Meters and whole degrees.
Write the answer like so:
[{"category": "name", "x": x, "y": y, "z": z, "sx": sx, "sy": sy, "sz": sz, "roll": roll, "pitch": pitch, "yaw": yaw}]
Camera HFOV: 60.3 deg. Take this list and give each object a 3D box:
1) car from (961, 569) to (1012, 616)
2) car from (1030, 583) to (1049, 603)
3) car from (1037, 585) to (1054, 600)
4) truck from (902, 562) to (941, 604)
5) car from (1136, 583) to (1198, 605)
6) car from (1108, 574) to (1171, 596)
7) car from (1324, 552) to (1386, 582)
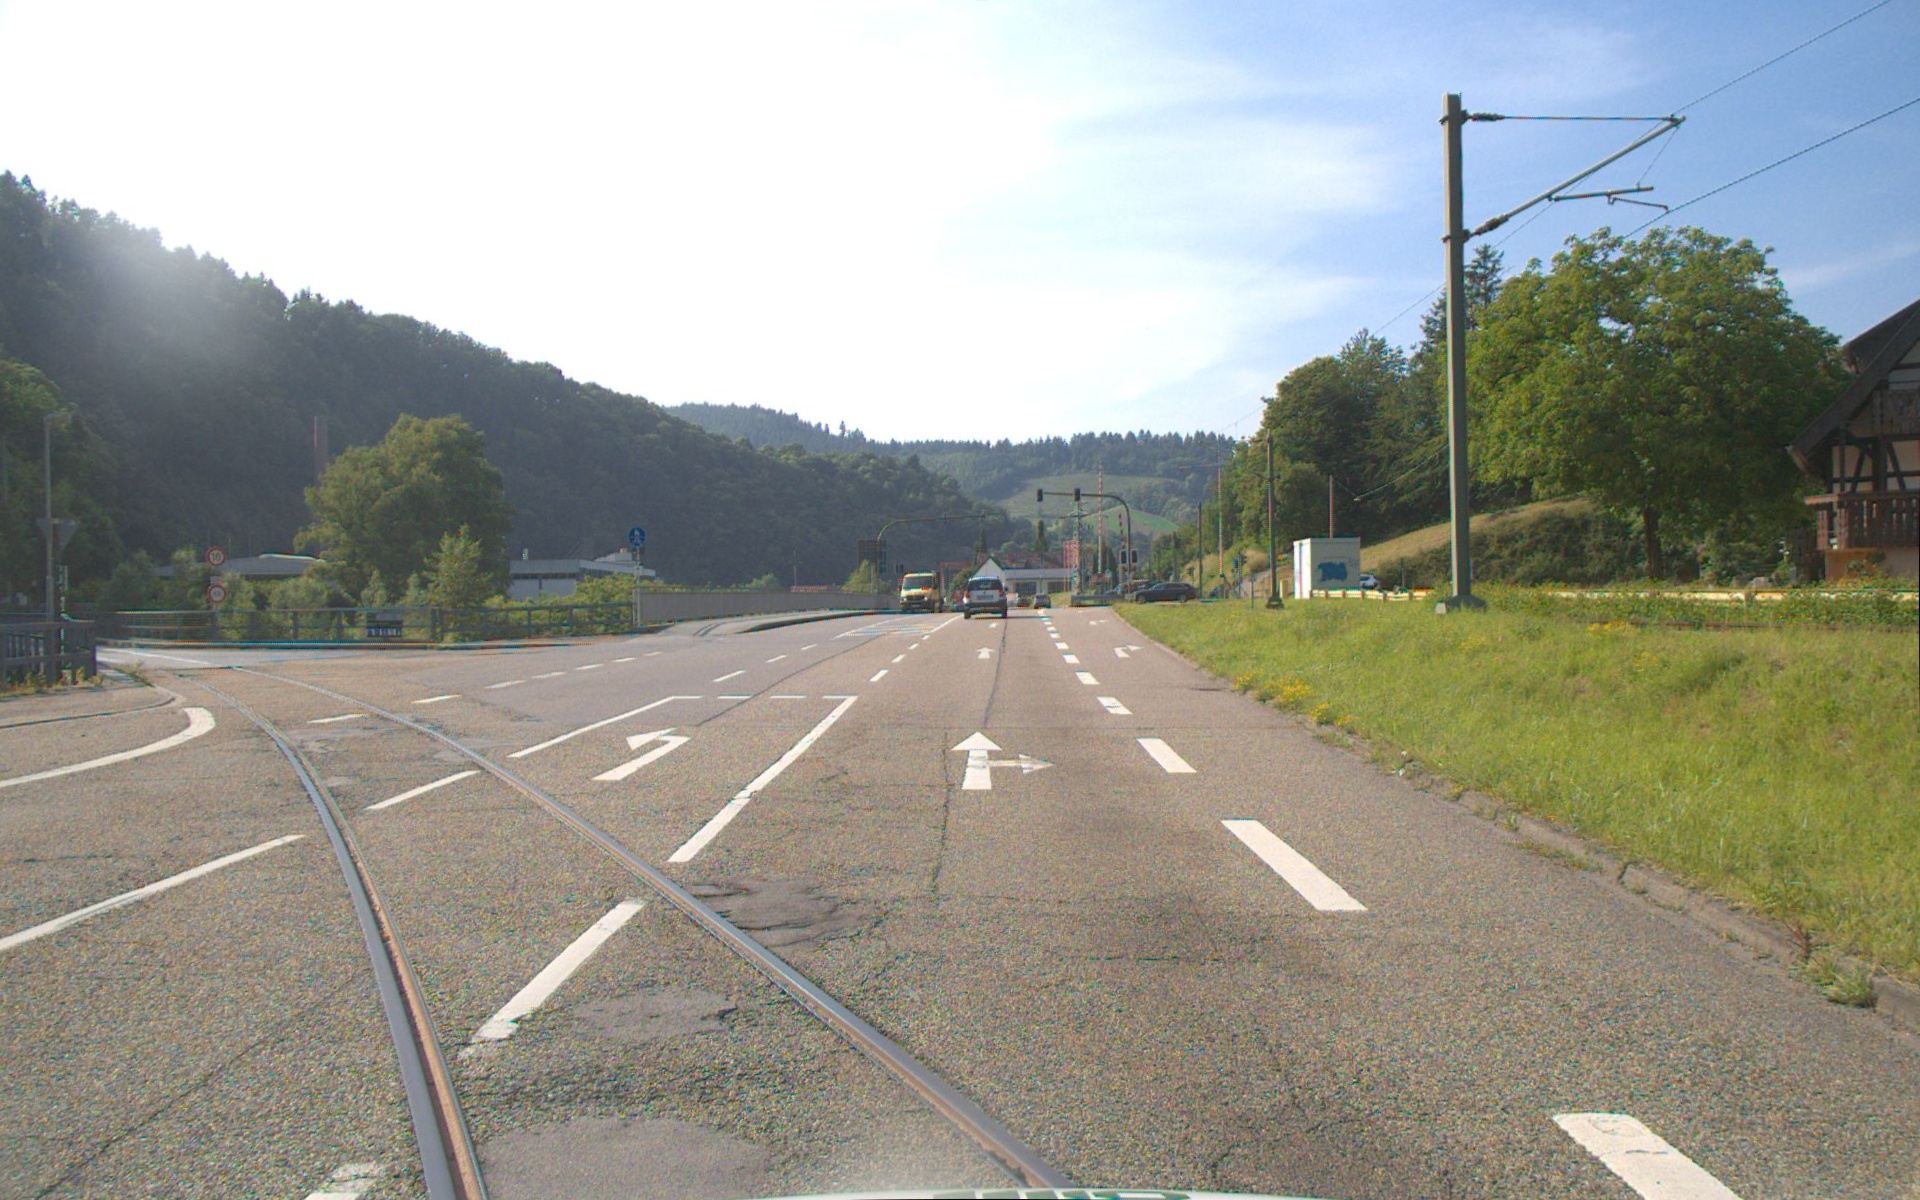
[{"category": "car", "x": 1.050, "y": -0.321, "z": 67.204, "sx": 1.953, "sy": 1.753, "sz": 3.990, "roll": -3, "pitch": 0, "yaw": 0}, {"category": "car", "x": 8.727, "y": -0.759, "z": 182.642, "sx": 1.952, "sy": 2.048, "sz": 4.001, "roll": -2, "pitch": 1, "yaw": 1}, {"category": "car", "x": 10.133, "y": -0.937, "z": 196.196, "sx": 1.952, "sy": 1.646, "sz": 4.001, "roll": -2, "pitch": 1, "yaw": 1}, {"category": "truck", "x": -2.218, "y": -1.013, "z": 97.451, "sx": 1.952, "sy": 2.384, "sz": 5.700, "roll": -1, "pitch": 1, "yaw": 1}, {"category": "car", "x": 14.182, "y": -0.430, "z": 113.148, "sx": 3.902, "sy": 1.378, "sz": 1.879, "roll": -1, "pitch": 1, "yaw": 17}, {"category": "car", "x": 12.077, "y": -1.027, "z": 111.157, "sx": 3.902, "sy": 1.378, "sz": 1.879, "roll": -1, "pitch": 1, "yaw": 17}, {"category": "car", "x": 26.375, "y": -2.219, "z": 110.408, "sx": 3.902, "sy": 1.914, "sz": 1.879, "roll": -1, "pitch": 1, "yaw": 17}]
